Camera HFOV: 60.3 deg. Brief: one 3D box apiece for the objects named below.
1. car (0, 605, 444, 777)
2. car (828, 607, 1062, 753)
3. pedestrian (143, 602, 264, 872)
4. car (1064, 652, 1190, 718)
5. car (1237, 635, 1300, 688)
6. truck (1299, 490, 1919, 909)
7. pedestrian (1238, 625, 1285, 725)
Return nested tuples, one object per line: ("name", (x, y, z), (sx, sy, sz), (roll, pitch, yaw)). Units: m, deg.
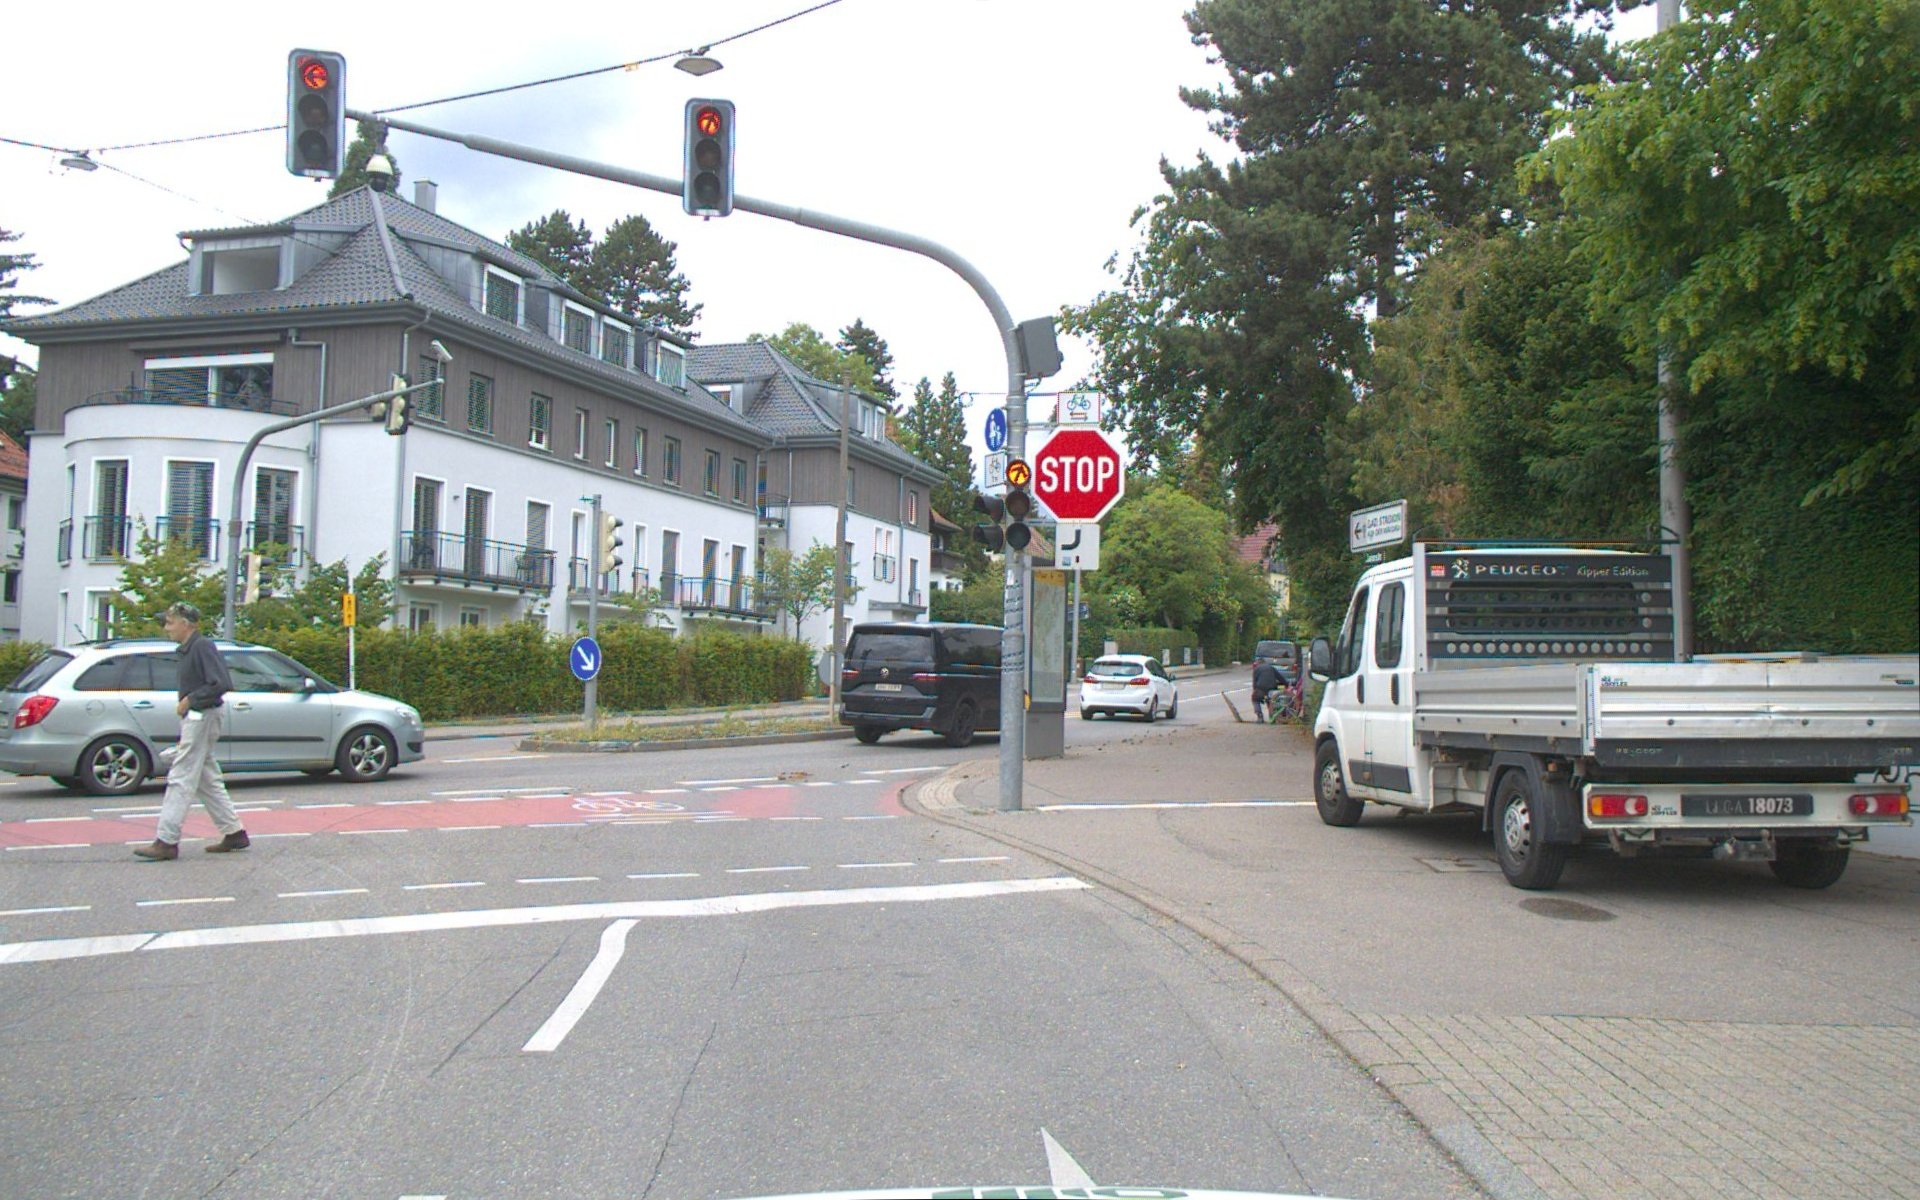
("car", (-7.698, 0.891, 17.096), (4.156, 1.502, 1.688), (2, 1, -40))
("car", (-0.118, 1.208, 27.005), (1.954, 2.048, 4.778), (3, 1, 24))
("pedestrian", (-5.032, 0.875, 10.993), (0.690, 1.711, 0.680), (1, 0, -28))
("car", (3.901, 1.967, 38.055), (1.891, 1.407, 3.999), (1, -3, 21))
("car", (12.501, 2.528, 67.252), (1.952, 2.049, 4.510), (1, -3, 4))
("truck", (4.275, 0.655, 11.882), (2.140, 2.233, 5.876), (1, -2, -3))
("pedestrian", (6.288, 1.539, 34.480), (0.834, 2.049, 0.579), (1, -1, -44))
